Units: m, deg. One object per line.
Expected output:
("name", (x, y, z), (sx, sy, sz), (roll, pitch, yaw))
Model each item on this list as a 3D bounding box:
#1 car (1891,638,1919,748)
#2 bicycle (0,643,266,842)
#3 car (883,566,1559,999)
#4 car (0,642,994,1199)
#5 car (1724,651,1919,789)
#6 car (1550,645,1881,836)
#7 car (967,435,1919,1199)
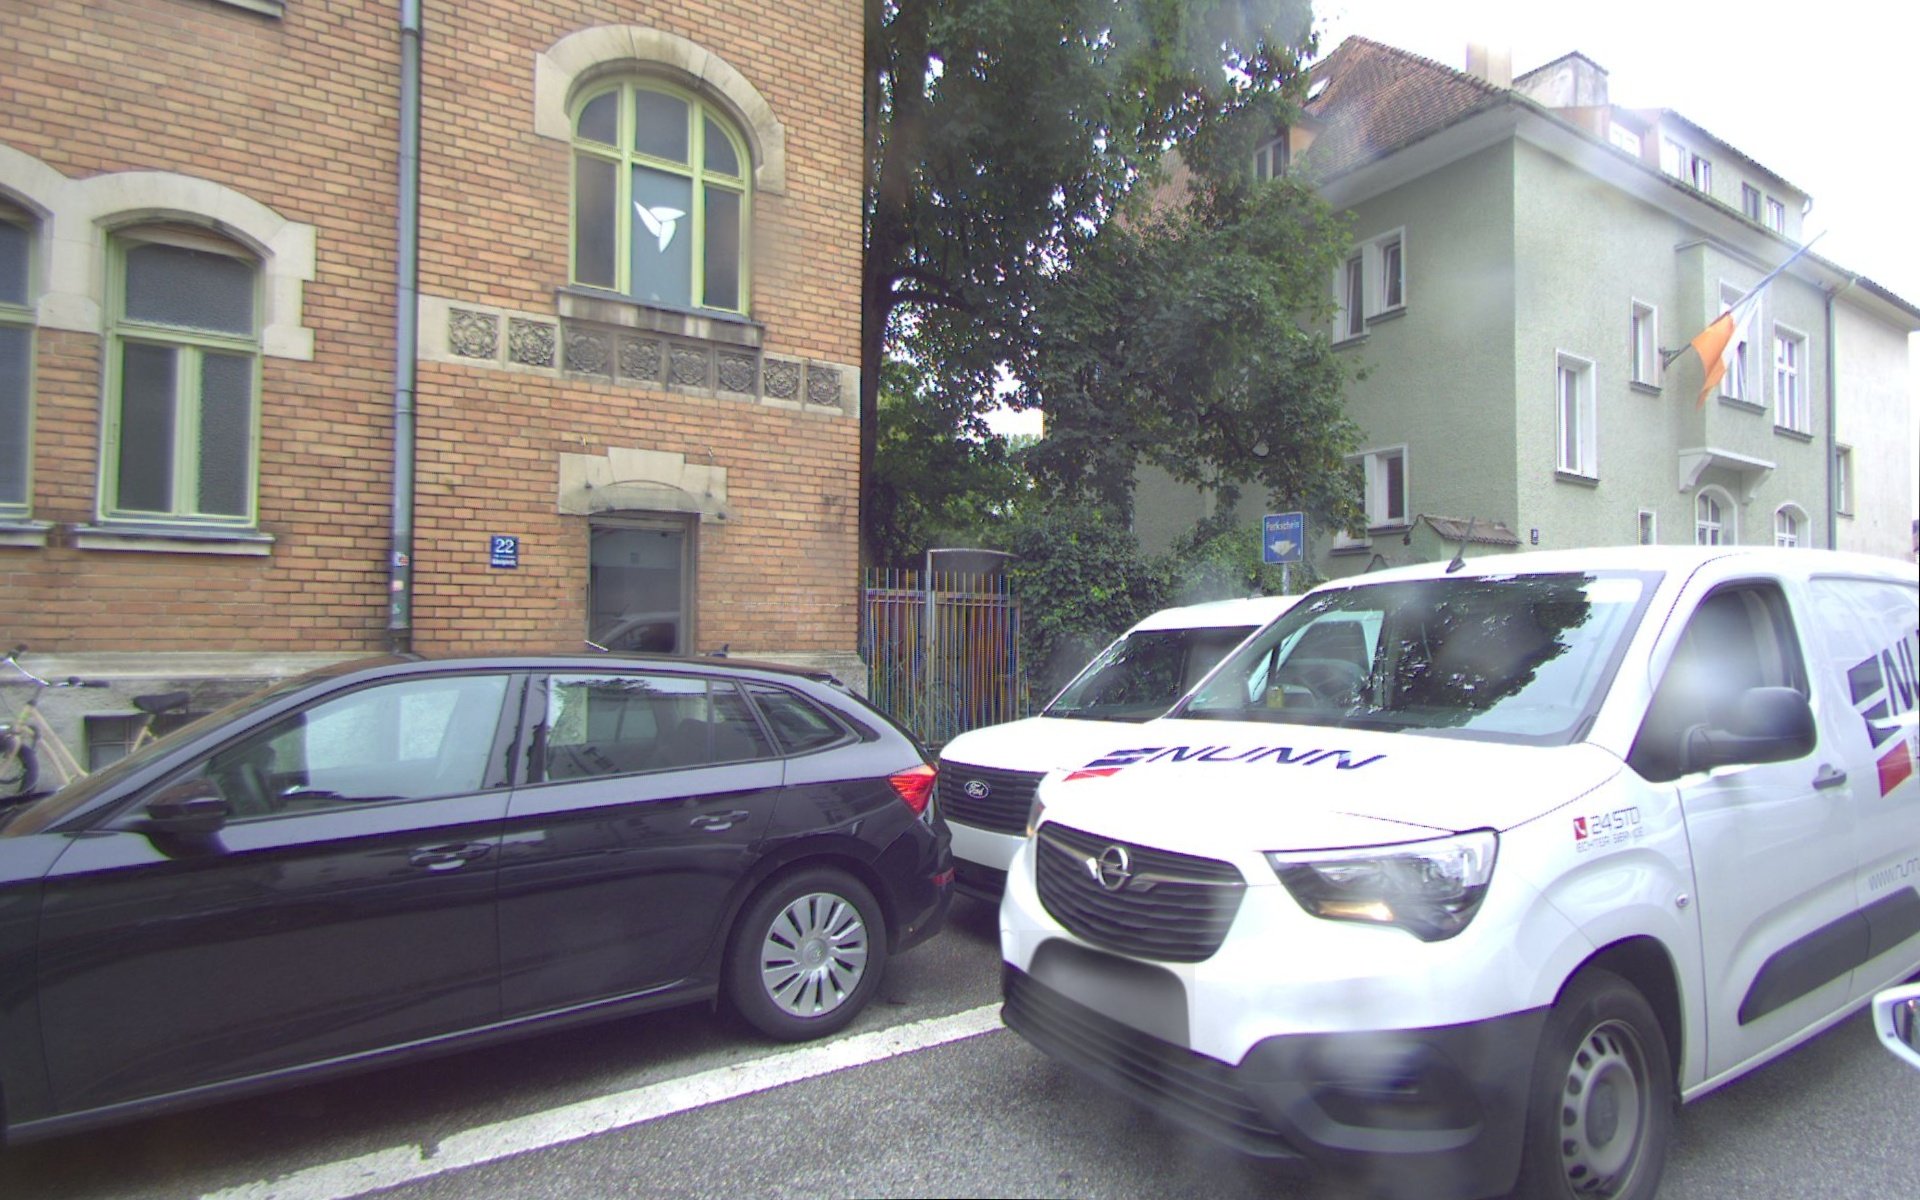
("car", (16.116, 1.385, 15.491), (3.880, 1.623, 1.677), (2, -4, -34))
("bicycle", (-5.466, 0.845, 6.270), (1.807, 1.143, 0.628), (1, -2, -32))
("car", (1.726, 0.858, 6.124), (4.102, 1.827, 1.680), (1, -4, -34))
("car", (-2.031, 0.909, 3.736), (4.100, 1.461, 1.681), (1, -4, -33))
("car", (11.310, 1.368, 12.271), (4.289, 1.430, 1.850), (3, -5, -34))
("car", (7.110, 1.172, 9.392), (3.279, 1.485, 1.465), (2, -4, -34))
("car", (2.365, 0.685, 3.855), (4.526, 1.827, 1.760), (1, -2, -35))
